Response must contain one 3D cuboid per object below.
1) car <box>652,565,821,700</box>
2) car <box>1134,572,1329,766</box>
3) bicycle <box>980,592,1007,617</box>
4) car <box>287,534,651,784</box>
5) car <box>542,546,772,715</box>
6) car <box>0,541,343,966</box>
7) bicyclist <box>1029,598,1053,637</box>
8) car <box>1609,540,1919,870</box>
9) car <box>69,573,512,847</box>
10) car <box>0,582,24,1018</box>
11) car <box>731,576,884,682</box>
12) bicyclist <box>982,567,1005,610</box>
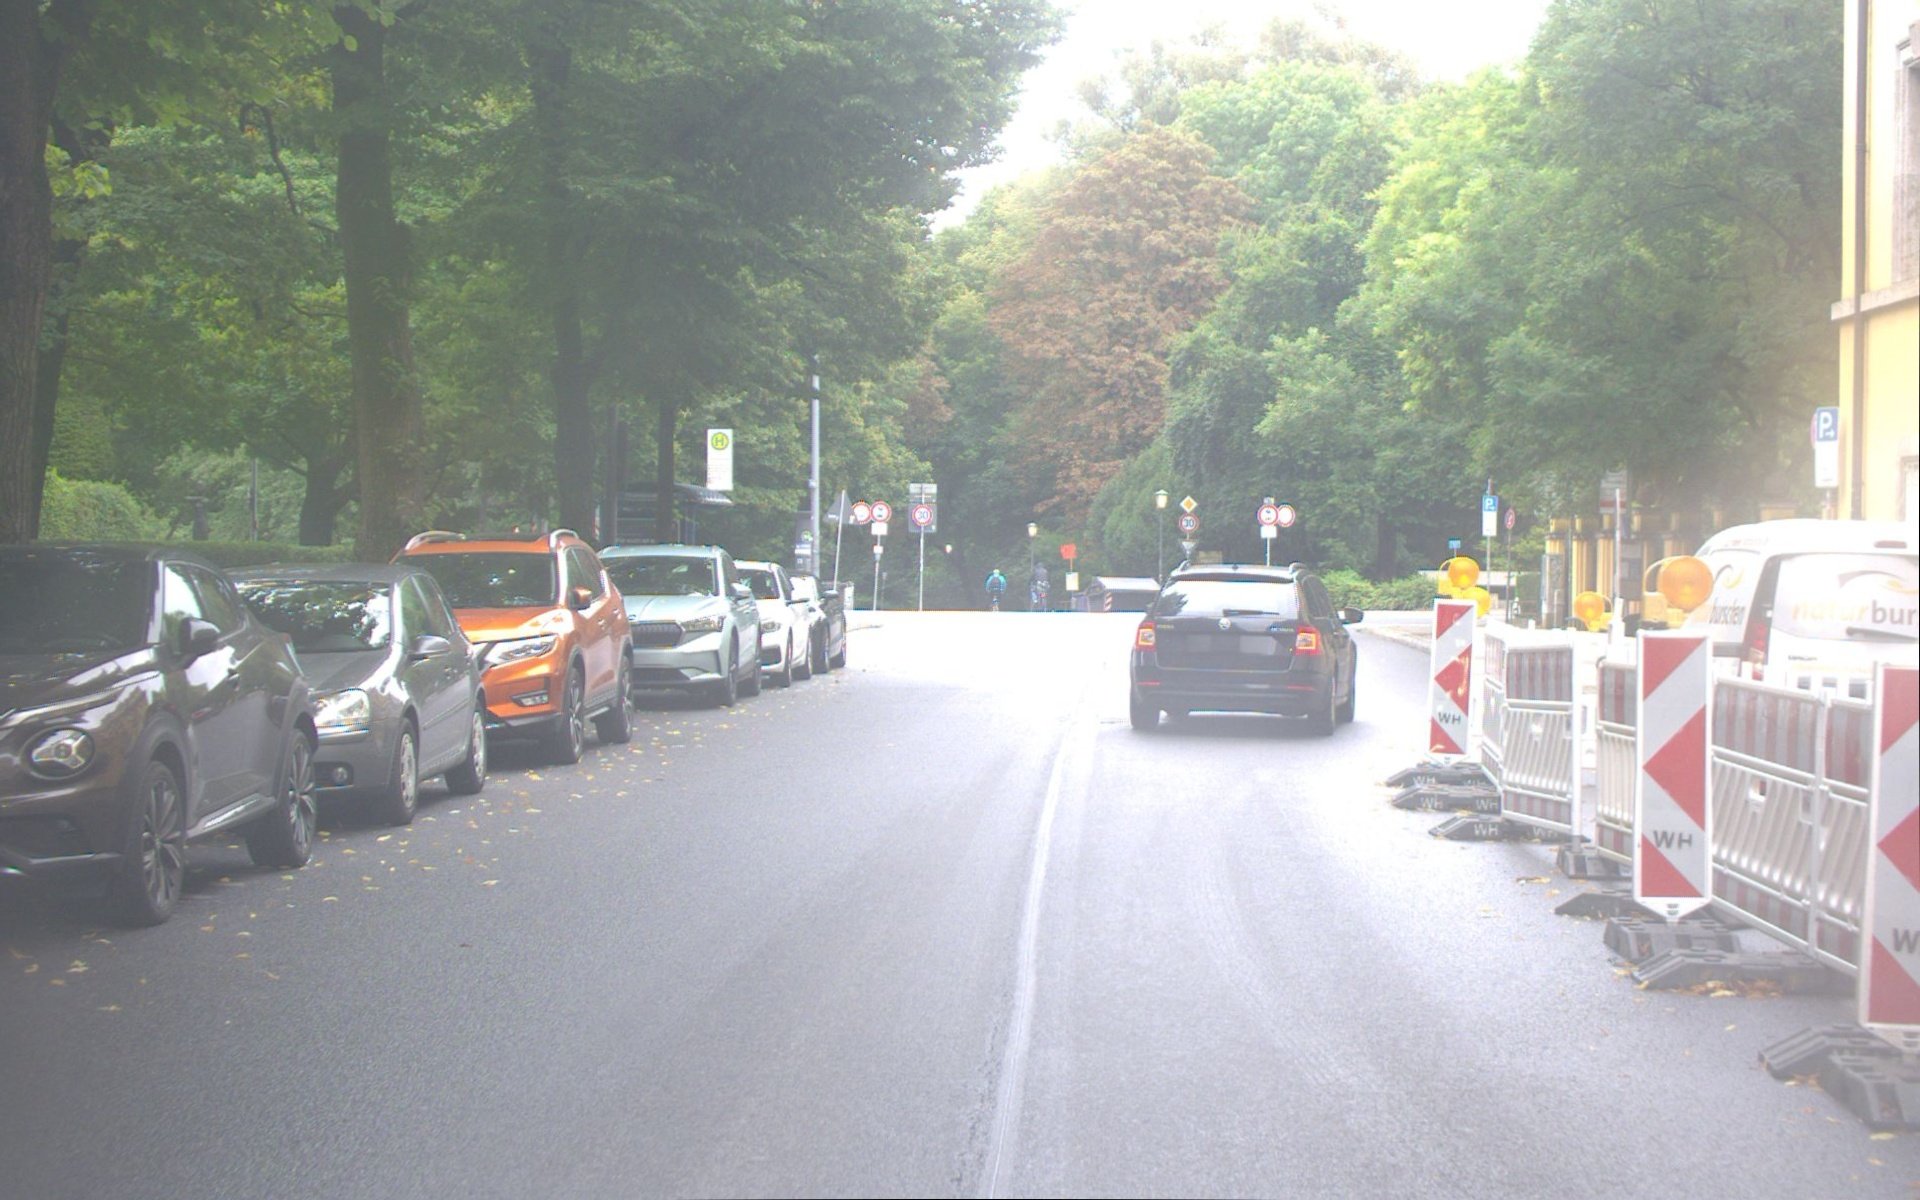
[{"bbox_3d":[-2.608,0.352,40.887,1.577,1.492,4.199,1,0,2],"label":"car"},{"bbox_3d":[2.422,0.555,30.426,1.577,1.578,4.043,1,0,5],"label":"car"},{"bbox_3d":[1.176,0.161,120.527,0.679,0.827,2.110,1,0,-7],"label":"bicycle"},{"bbox_3d":[-3.645,0.396,26.347,1.873,1.722,4.640,1,0,3],"label":"car"},{"bbox_3d":[-3.049,0.280,35.445,1.815,1.596,4.513,1,0,2],"label":"car"},{"bbox_3d":[-4.043,0.531,15.033,1.786,1.569,4.486,1,1,1],"label":"car"},{"bbox_3d":[2.507,0.535,106.803,0.680,1.183,0.481,1,0,-7],"label":"bicyclist"},{"bbox_3d":[5.129,0.574,20.450,1.739,1.744,4.356,1,0,1],"label":"car"},{"bbox_3d":[-3.874,0.576,20.583,1.727,1.418,4.251,1,1,1],"label":"car"},{"bbox_3d":[-4.145,0.665,9.312,1.719,1.446,4.695,1,0,3],"label":"car"},{"bbox_3d":[-2.000,0.362,46.089,1.577,1.338,4.043,1,0,4],"label":"car"},{"bbox_3d":[1.161,-0.393,120.630,0.680,1.499,0.901,1,1,-6],"label":"bicyclist"}]
